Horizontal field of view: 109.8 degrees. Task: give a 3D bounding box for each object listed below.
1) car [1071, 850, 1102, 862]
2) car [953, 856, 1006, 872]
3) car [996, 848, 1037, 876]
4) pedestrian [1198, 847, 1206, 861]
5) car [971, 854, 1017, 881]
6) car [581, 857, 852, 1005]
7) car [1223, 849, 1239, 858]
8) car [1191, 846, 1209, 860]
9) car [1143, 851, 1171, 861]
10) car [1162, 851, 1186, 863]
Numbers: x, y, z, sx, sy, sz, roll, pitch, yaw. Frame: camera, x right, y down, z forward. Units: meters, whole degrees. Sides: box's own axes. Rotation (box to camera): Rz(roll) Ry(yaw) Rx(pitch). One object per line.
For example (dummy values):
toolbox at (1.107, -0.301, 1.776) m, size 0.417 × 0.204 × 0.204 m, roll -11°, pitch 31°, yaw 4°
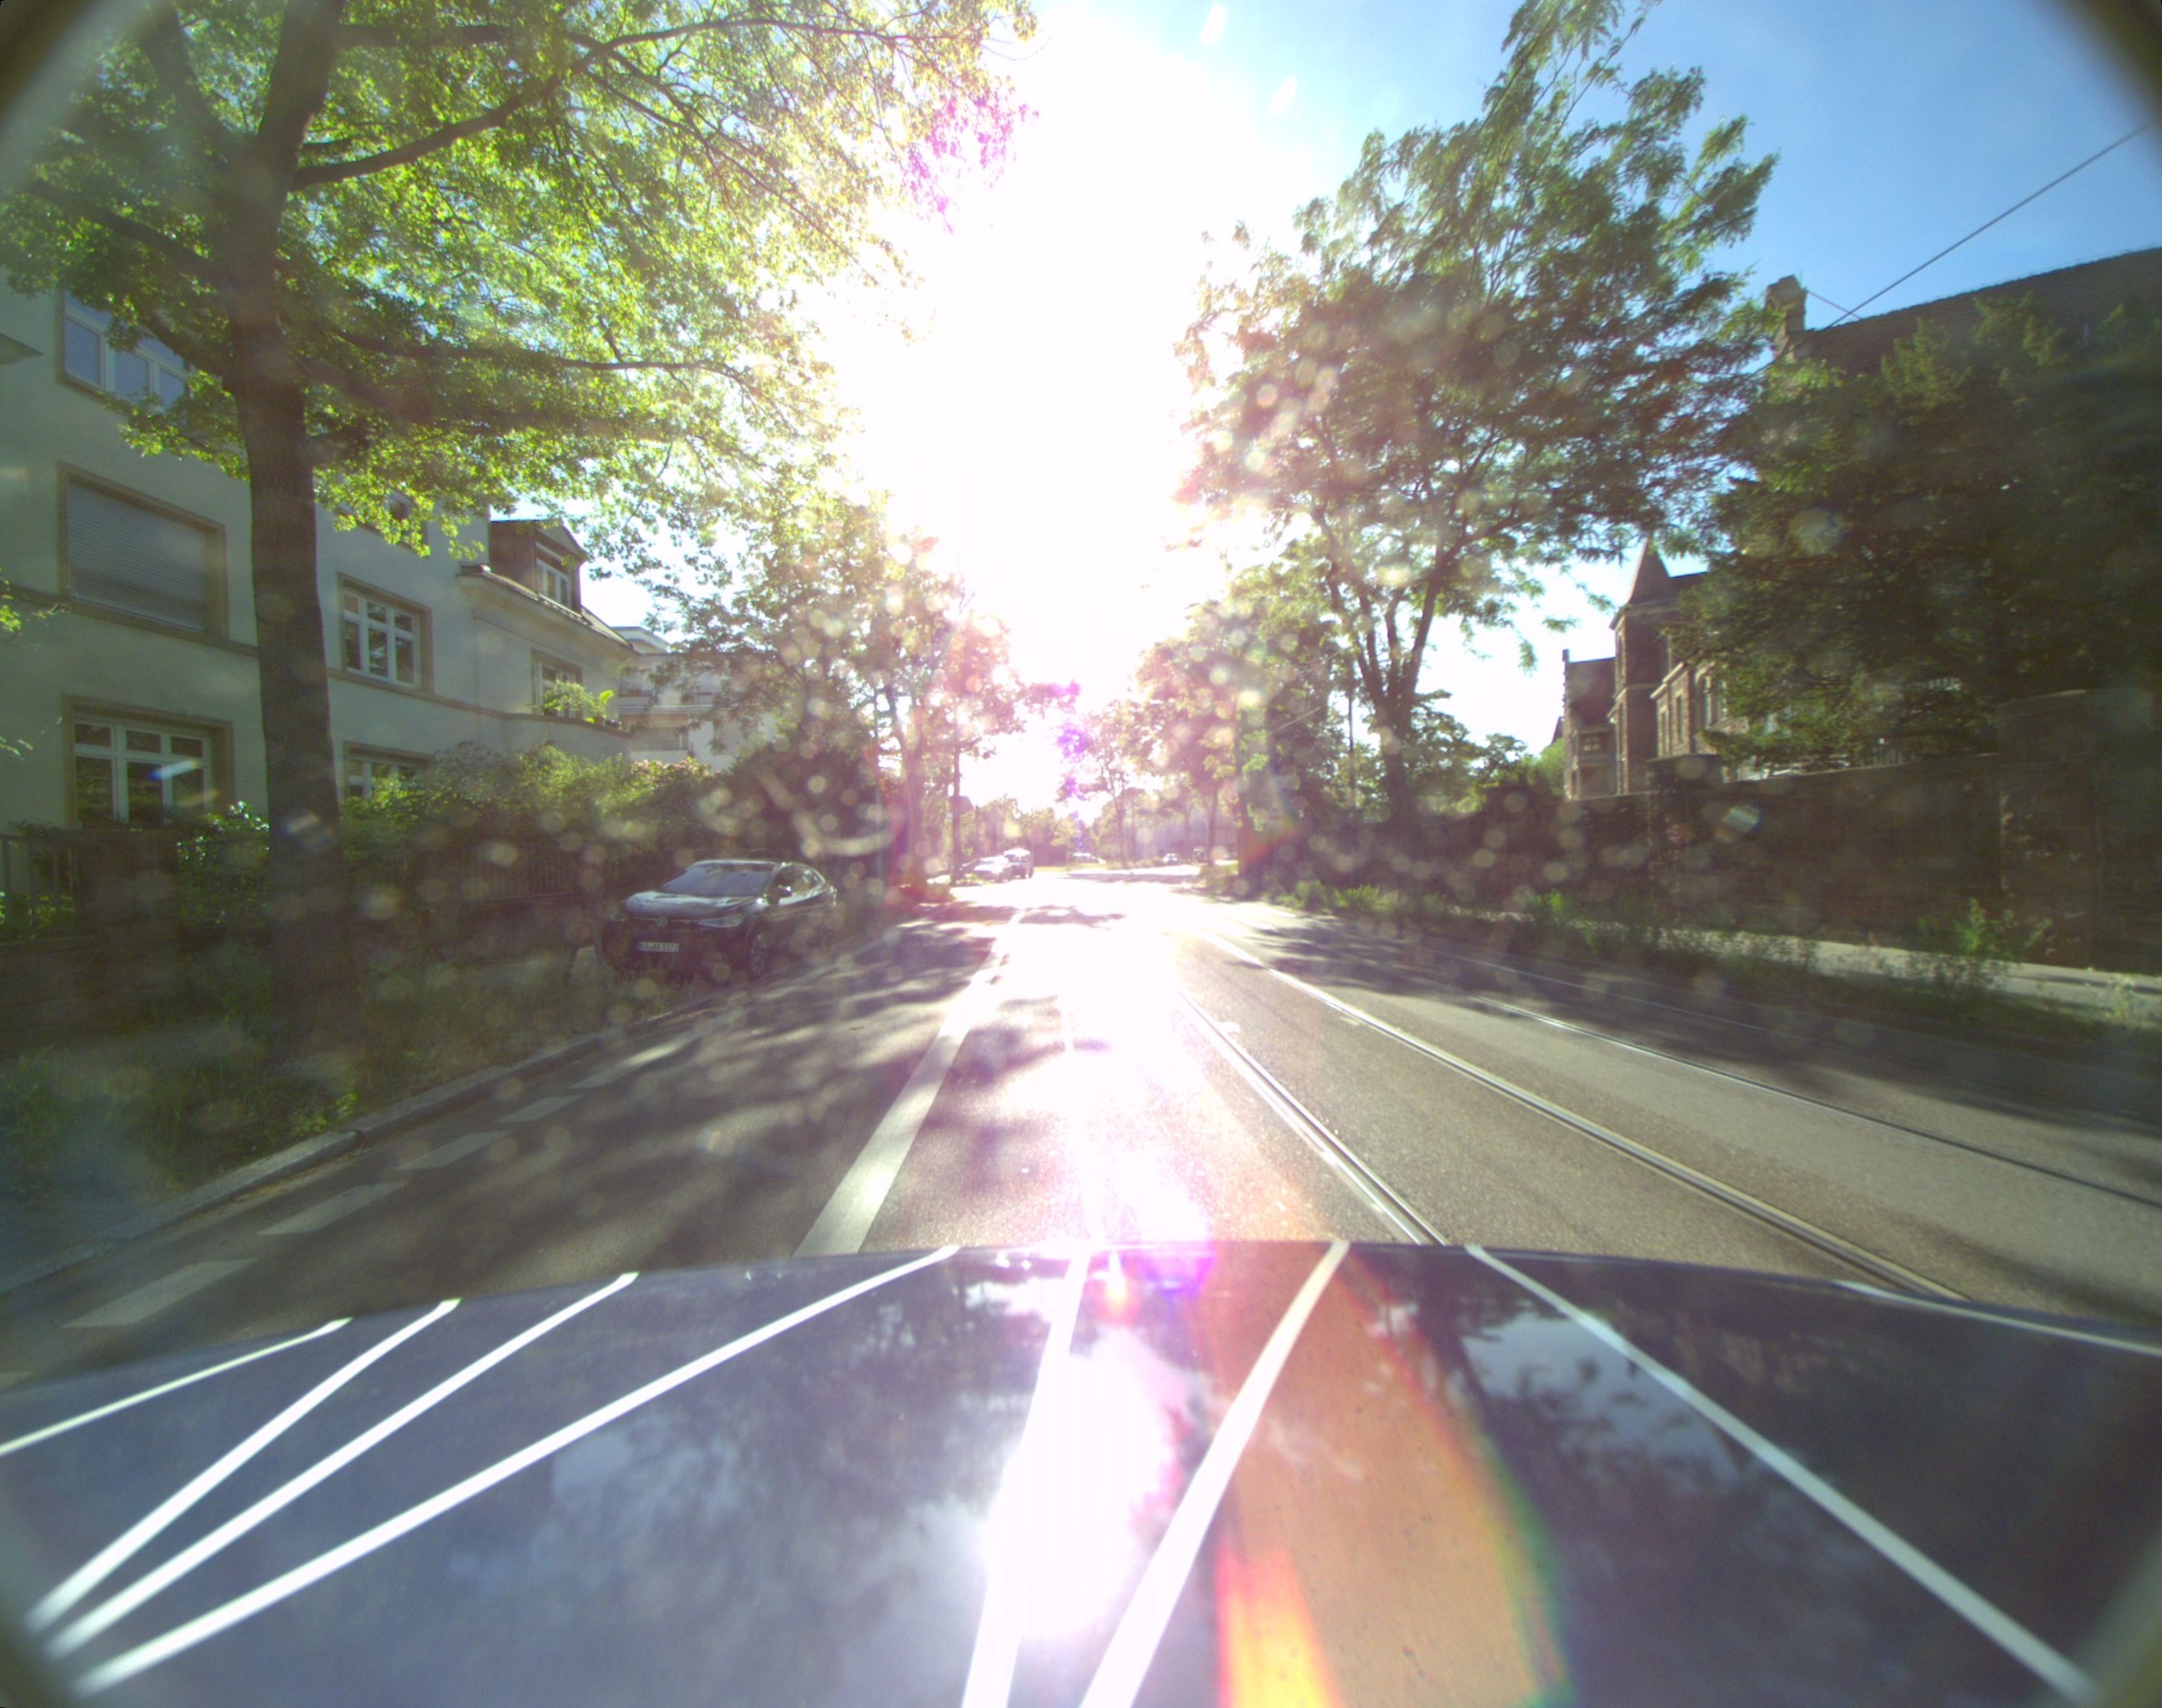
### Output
car at (0.946, 0.342, 128.749) m, size 5.209 × 1.874 × 2.100 m, roll -2°, pitch 0°, yaw 1°
car at (-9.241, 0.907, 69.556) m, size 4.521 × 1.361 × 1.969 m, roll -1°, pitch 1°, yaw 1°
car at (-4.298, 0.515, 51.450) m, size 2.027 × 1.736 × 4.753 m, roll -1°, pitch 0°, yaw 4°
pedestrian at (16.901, 0.001, 106.065) m, size 0.878 × 1.854 × 1.021 m, roll -1°, pitch 1°, yaw 12°
car at (-5.163, 0.771, 45.506) m, size 1.998 × 1.415 × 4.332 m, roll -1°, pitch 1°, yaw 3°
car at (-5.126, 0.950, 11.557) m, size 1.809 × 1.684 × 4.728 m, roll 2°, pitch 0°, yaw 0°
car at (28.620, -0.126, 145.260) m, size 1.739 × 1.487 × 4.538 m, roll -1°, pitch 0°, yaw 28°
car at (18.287, -0.162, 116.426) m, size 1.996 × 2.083 × 4.722 m, roll -1°, pitch 0°, yaw 17°
car at (12.840, 0.330, 128.829) m, size 4.459 × 1.482 × 2.008 m, roll -1°, pitch 4°, yaw 1°
car at (12.150, 0.356, 99.140) m, size 2.002 × 1.457 × 5.439 m, roll 3°, pitch 2°, yaw 18°
